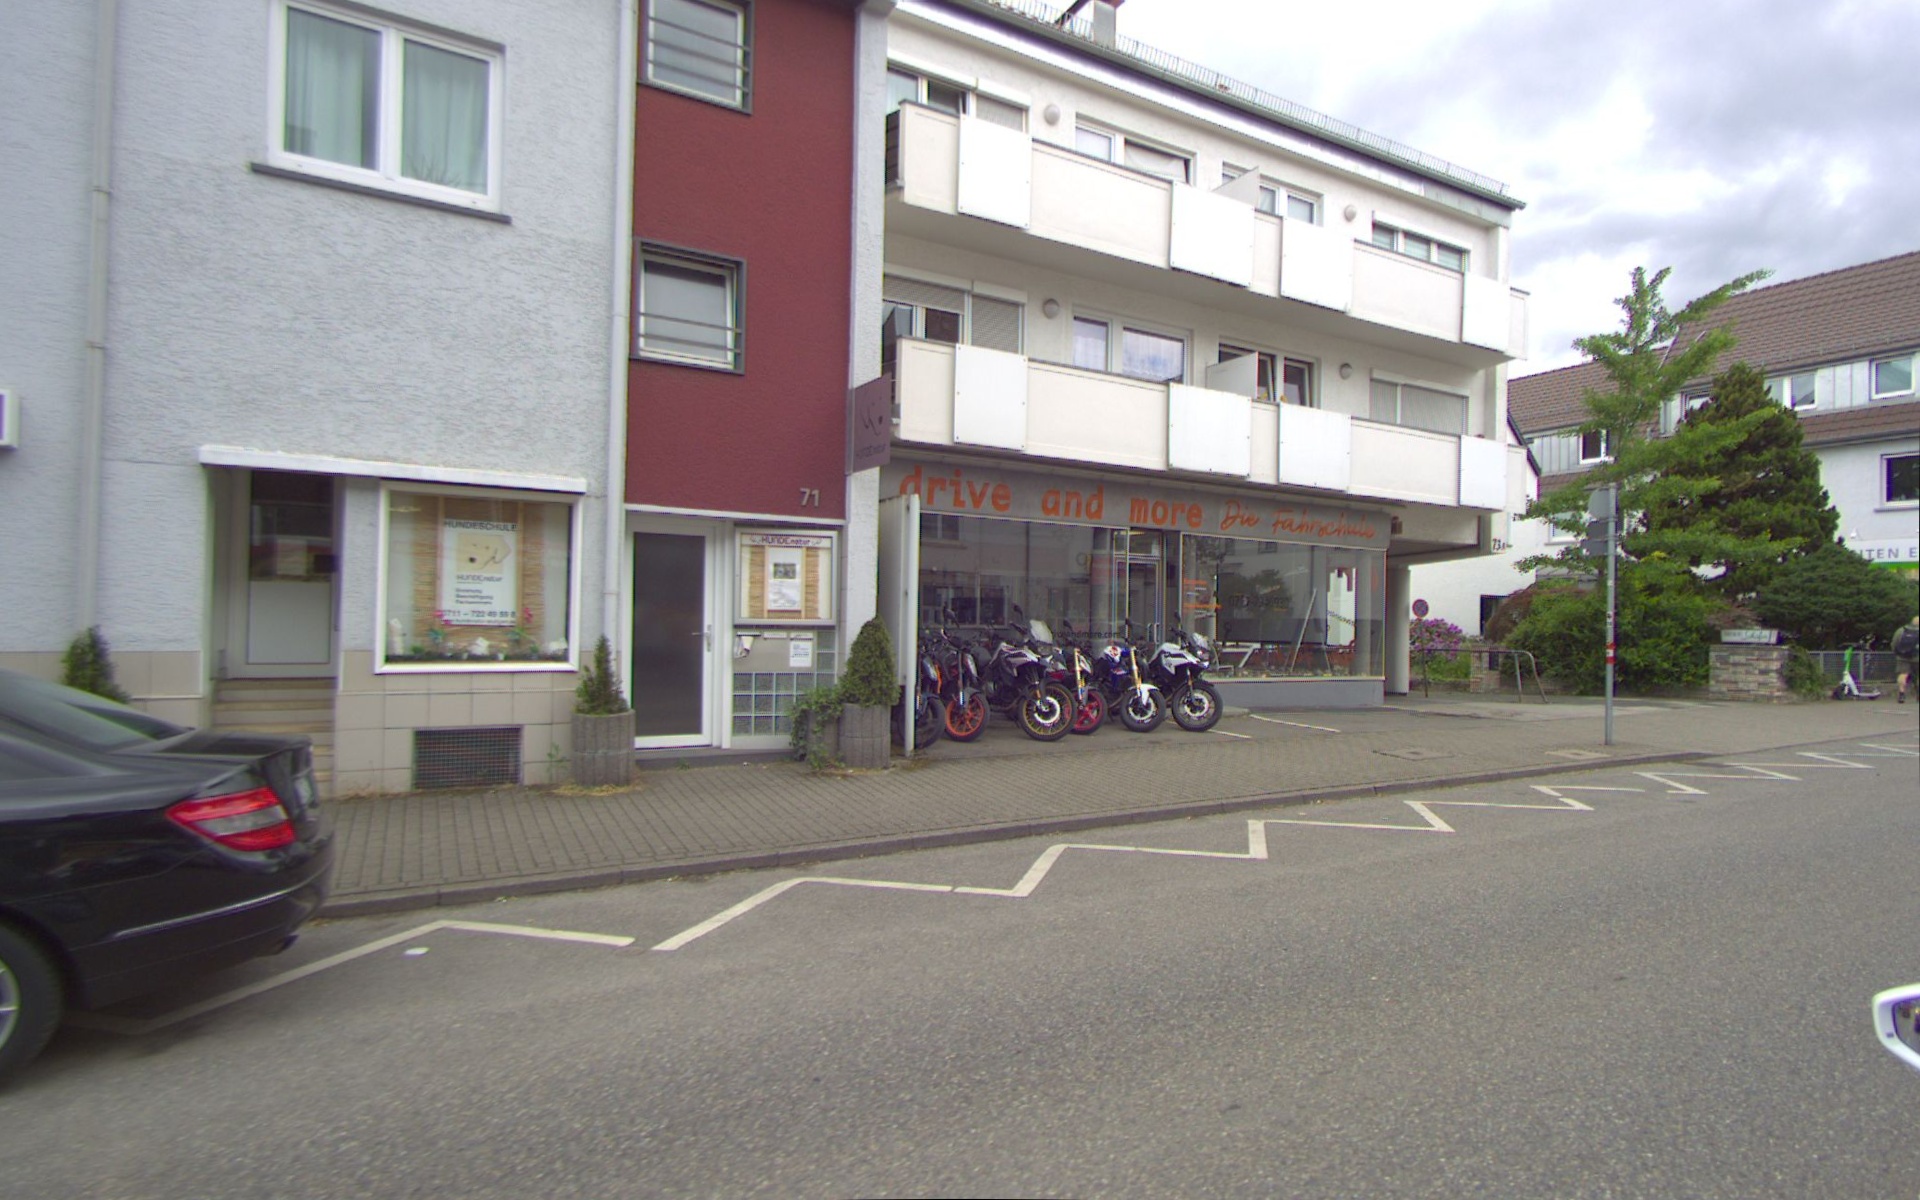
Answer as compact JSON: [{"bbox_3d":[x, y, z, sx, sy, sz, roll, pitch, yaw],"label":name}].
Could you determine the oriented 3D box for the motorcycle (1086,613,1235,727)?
[{"bbox_3d":[2.626,0.887,13.464,0.606,1.282,2.214,2,2,-29],"label":"motorcycle"}]

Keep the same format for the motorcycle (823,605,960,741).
[{"bbox_3d":[-0.830,0.757,11.312,0.606,1.282,2.214,2,2,-29],"label":"motorcycle"}]

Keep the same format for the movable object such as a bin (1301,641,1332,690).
[{"bbox_3d":[7.985,1.466,22.497,0.436,1.071,0.486,1,-2,-29],"label":"movable object such as a bin"}]

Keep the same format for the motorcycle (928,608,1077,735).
[{"bbox_3d":[0.454,0.803,12.173,0.691,1.282,2.214,2,2,-30],"label":"motorcycle"}]

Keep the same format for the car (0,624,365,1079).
[{"bbox_3d":[-4.532,0.788,3.372,4.290,1.436,1.779,2,-2,-30],"label":"car"}]

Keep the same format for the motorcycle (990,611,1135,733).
[{"bbox_3d":[1.232,0.845,12.648,0.606,1.282,2.214,2,2,-29],"label":"motorcycle"}]

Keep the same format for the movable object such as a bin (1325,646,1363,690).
[{"bbox_3d":[8.370,1.468,21.904,0.464,0.945,0.597,1,-2,-29],"label":"movable object such as a bin"}]

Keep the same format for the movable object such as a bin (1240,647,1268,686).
[{"bbox_3d":[7.126,1.613,24.323,0.436,0.924,0.486,1,-2,-29],"label":"movable object such as a bin"}]

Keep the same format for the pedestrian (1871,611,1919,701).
[{"bbox_3d":[19.317,1.127,20.482,1.007,1.767,0.748,2,2,-29],"label":"pedestrian"}]

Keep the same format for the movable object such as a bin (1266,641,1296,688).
[{"bbox_3d":[7.487,1.492,23.419,0.436,1.071,0.486,1,-2,-29],"label":"movable object such as a bin"}]

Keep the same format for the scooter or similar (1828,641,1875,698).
[{"bbox_3d":[18.369,1.419,20.684,1.166,1.126,0.338,2,0,-29],"label":"scooter or similar"}]

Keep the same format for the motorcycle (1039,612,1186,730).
[{"bbox_3d":[1.920,0.868,13.059,0.606,1.282,2.214,2,2,-29],"label":"motorcycle"}]

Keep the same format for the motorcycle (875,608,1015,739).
[{"bbox_3d":[-0.238,0.796,11.740,0.606,1.282,2.214,2,2,-29],"label":"motorcycle"}]

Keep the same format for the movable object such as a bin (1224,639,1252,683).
[{"bbox_3d":[6.875,1.496,24.846,0.436,1.071,0.486,1,-2,-29],"label":"movable object such as a bin"}]
